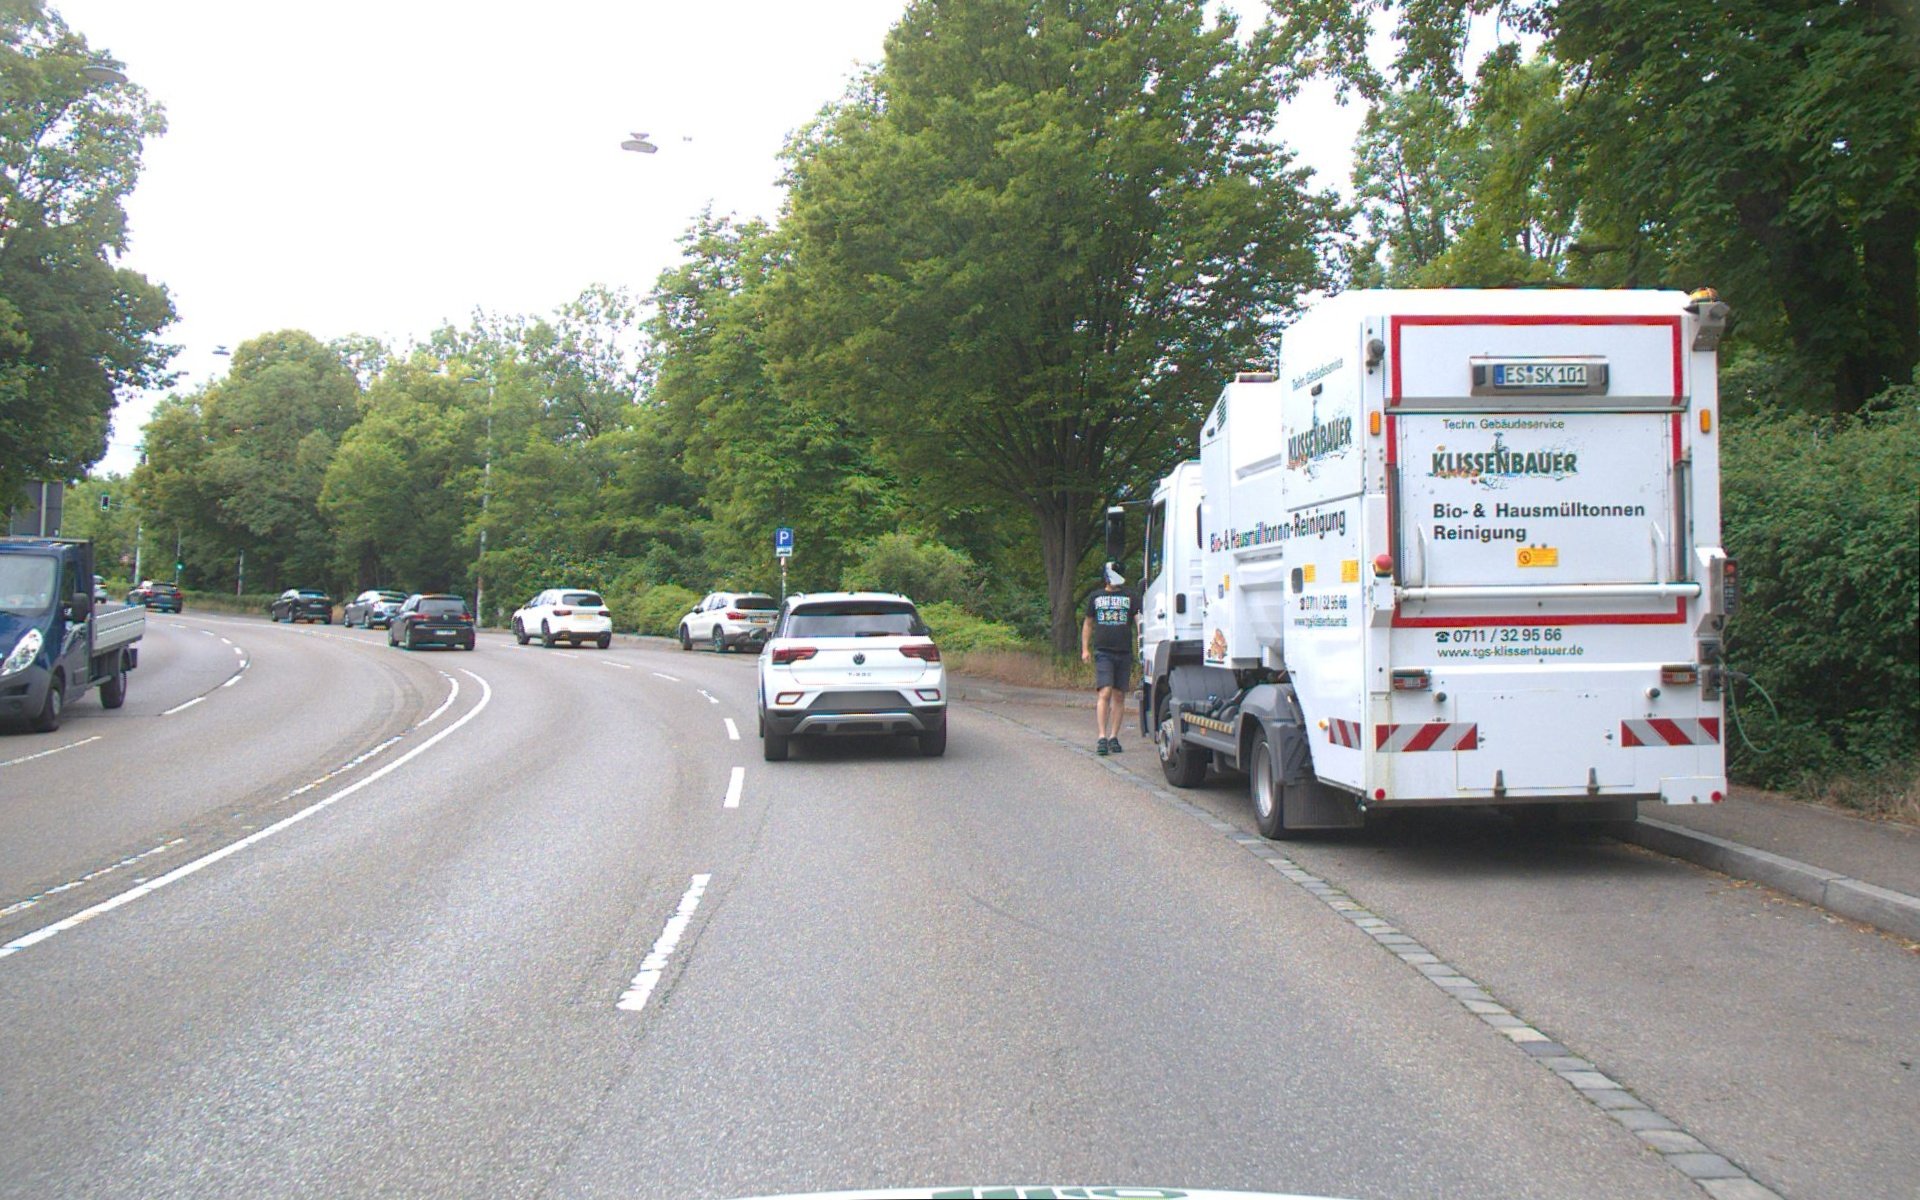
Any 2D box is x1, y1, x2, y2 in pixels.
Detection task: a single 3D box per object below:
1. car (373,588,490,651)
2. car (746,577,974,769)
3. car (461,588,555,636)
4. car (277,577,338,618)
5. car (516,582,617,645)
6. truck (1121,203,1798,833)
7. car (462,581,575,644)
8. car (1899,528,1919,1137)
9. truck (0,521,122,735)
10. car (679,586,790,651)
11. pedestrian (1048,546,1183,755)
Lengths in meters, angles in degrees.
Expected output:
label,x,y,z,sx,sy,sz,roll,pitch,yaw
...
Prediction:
label,x,y,z,sx,sy,sz,roll,pitch,yaw
car,-14.281,0.499,44.559,1.932,1.491,3.953,3,0,-34
car,-1.122,0.662,16.802,1.963,1.624,3.994,3,0,-7
car,-16.194,0.414,59.138,1.719,1.508,4.643,3,0,-35
car,-28.695,-0.125,72.684,1.748,1.635,3.957,3,0,-31
car,-11.411,0.354,47.797,1.832,1.732,3.960,0,1,-30
truck,2.964,-0.410,12.195,2.433,3.237,7.223,0,0,-4
car,-13.895,0.381,51.892,1.980,1.747,3.946,3,-1,-38
car,3.375,0.572,2.300,1.766,1.551,3.998,-1,0,-2
truck,-12.330,0.303,21.560,2.132,2.412,6.627,-1,1,-24
car,-6.159,0.468,44.788,1.737,1.681,4.344,0,0,-26
pedestrian,1.527,0.489,16.488,0.900,1.862,0.984,12,-1,1
